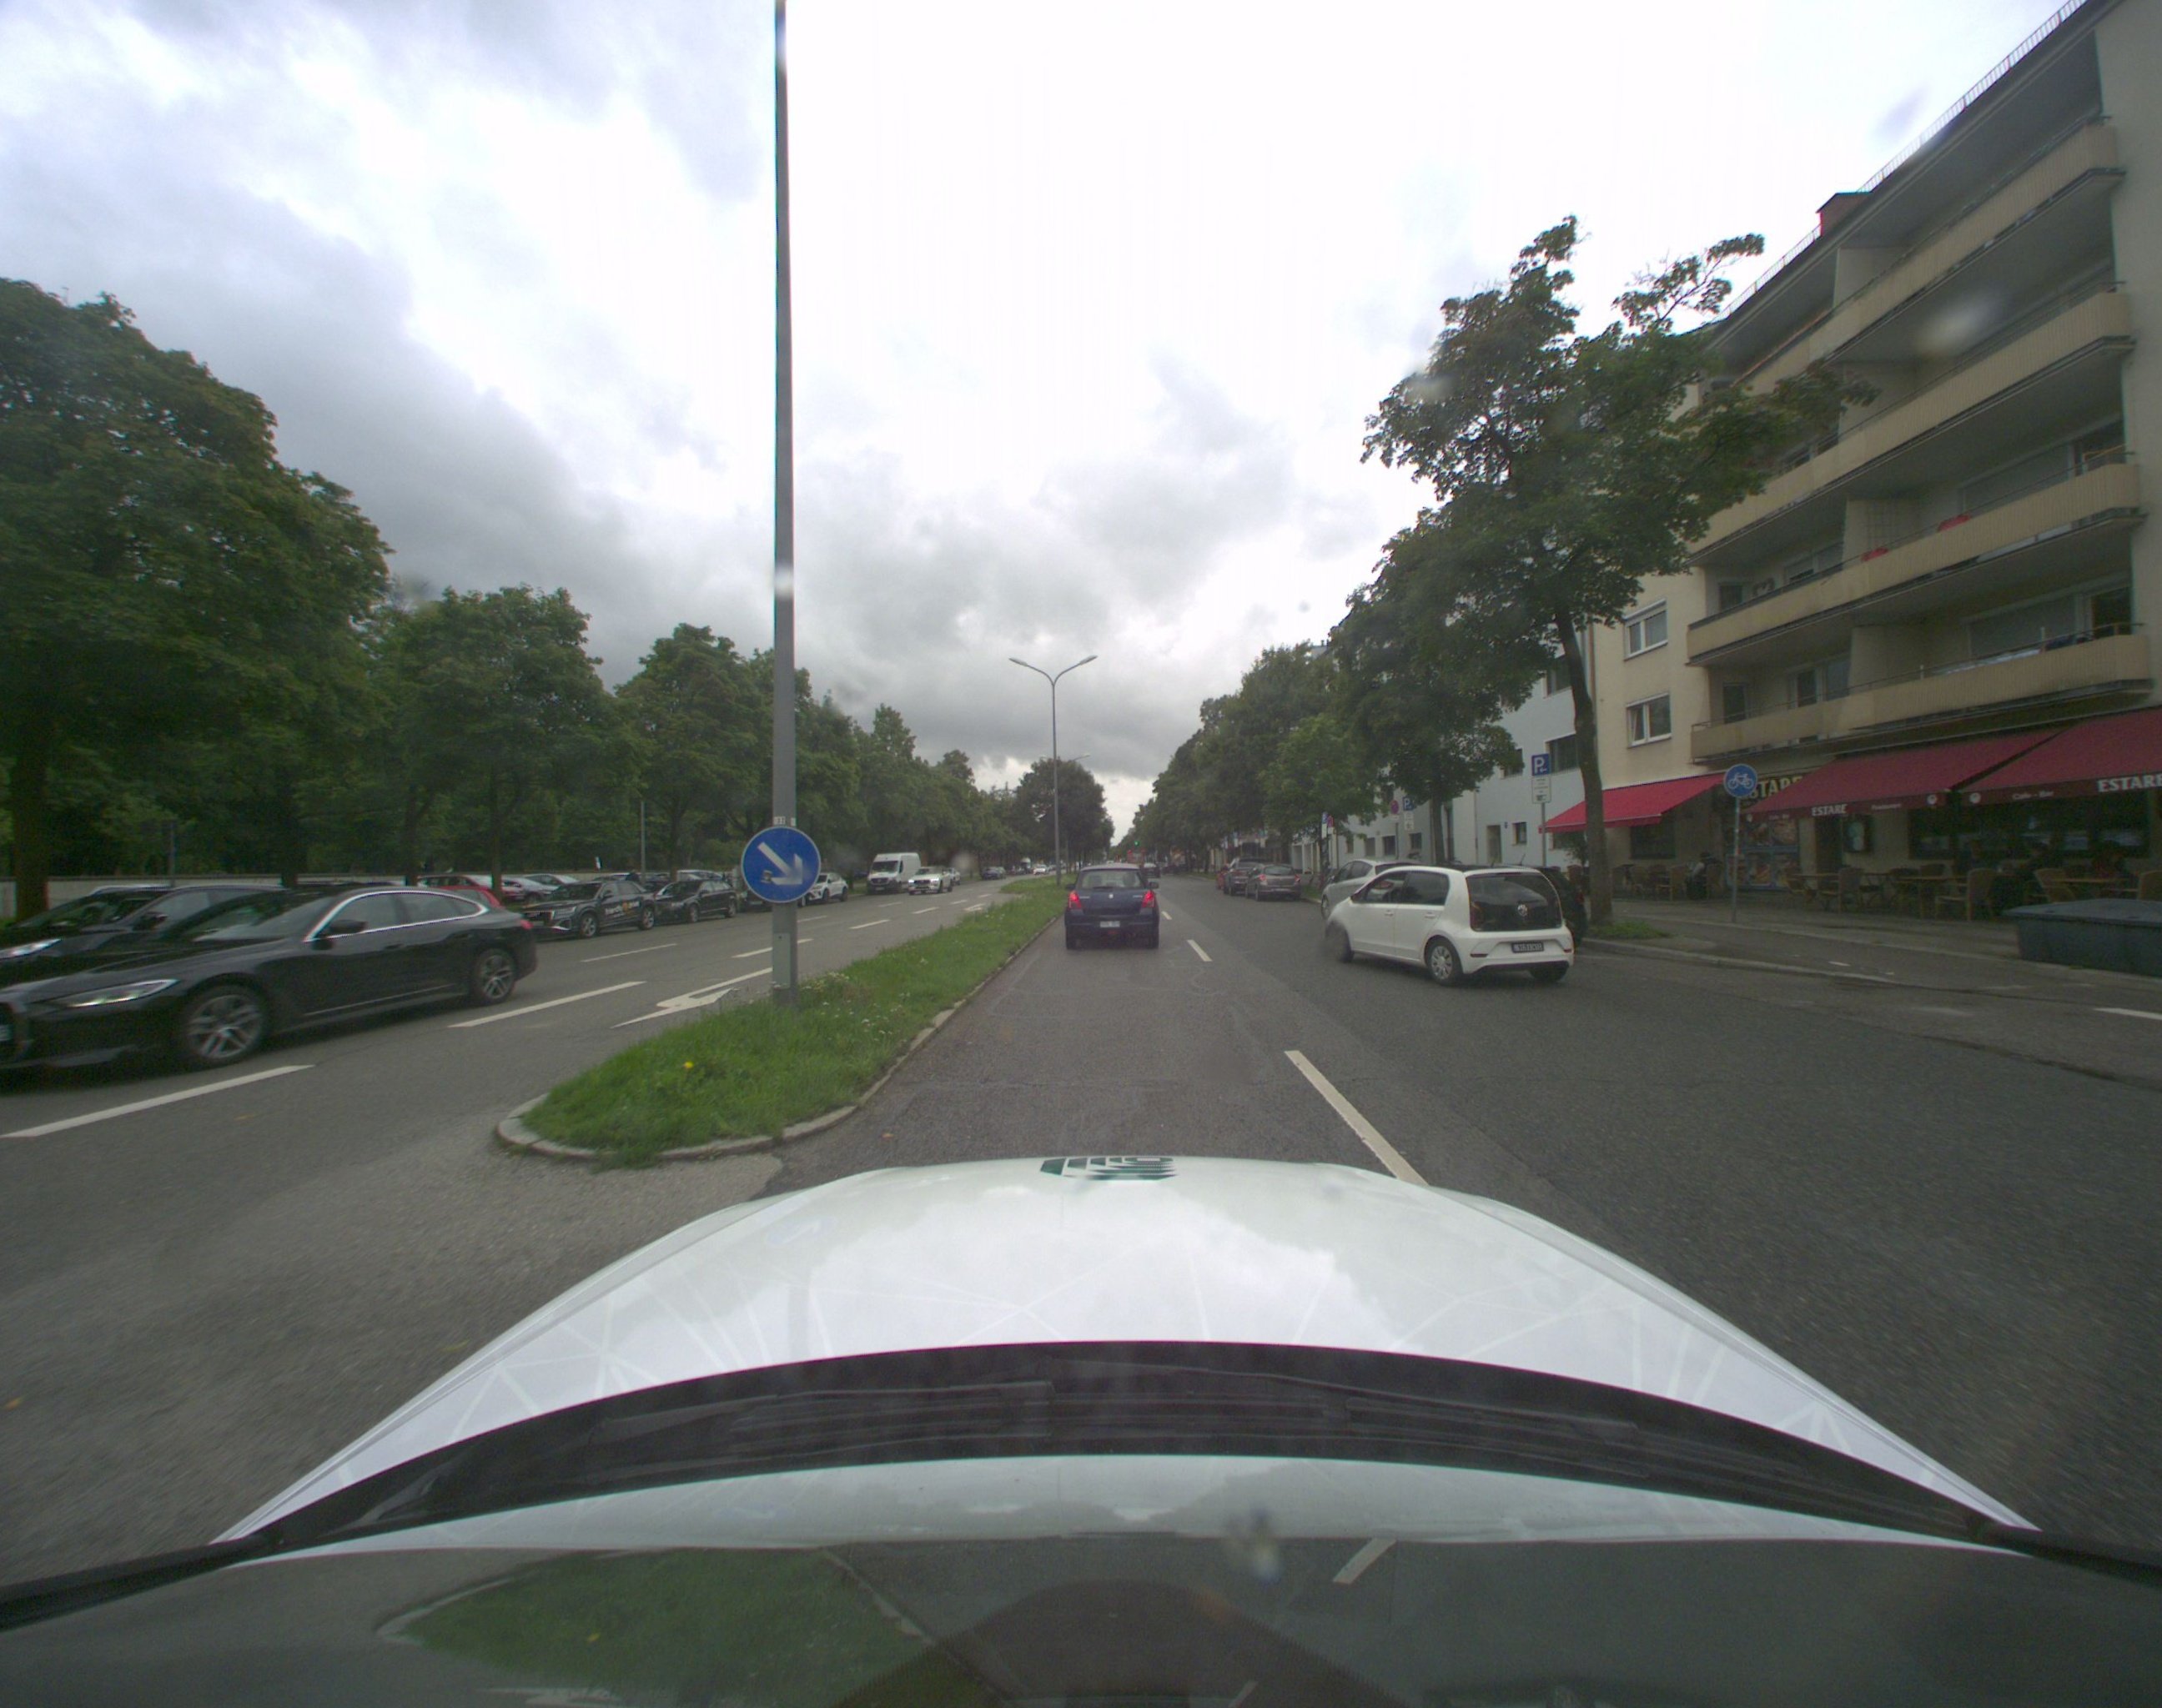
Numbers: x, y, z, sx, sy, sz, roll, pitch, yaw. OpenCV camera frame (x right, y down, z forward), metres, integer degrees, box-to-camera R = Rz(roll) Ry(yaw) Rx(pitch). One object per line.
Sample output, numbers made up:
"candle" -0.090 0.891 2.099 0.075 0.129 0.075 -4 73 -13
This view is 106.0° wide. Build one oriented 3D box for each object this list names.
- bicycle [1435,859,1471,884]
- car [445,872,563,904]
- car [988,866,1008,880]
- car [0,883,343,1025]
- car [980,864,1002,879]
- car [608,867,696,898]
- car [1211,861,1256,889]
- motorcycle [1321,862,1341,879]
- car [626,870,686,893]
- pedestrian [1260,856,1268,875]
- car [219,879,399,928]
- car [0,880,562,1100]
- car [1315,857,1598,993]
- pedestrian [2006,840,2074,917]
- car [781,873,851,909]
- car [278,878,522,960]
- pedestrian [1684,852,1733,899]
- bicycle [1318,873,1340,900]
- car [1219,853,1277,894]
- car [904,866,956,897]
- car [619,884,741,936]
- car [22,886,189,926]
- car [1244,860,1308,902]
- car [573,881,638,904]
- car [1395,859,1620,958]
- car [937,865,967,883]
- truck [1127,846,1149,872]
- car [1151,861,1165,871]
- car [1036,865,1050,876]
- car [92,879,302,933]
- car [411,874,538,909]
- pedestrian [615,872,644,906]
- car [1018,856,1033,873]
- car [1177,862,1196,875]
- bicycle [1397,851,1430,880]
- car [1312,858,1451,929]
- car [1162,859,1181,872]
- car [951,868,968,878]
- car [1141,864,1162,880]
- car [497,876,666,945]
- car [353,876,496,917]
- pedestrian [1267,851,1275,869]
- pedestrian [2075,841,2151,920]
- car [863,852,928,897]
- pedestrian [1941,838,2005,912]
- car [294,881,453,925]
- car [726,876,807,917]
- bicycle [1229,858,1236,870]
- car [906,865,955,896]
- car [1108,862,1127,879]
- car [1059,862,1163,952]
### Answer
"bicycle" 16.826 0.783 36.876 0.619 1.046 2.197 -5 -1 3
"car" -25.943 1.501 36.736 3.980 1.284 1.738 -1 -1 -5
"car" -9.864 2.206 96.701 1.632 1.537 4.317 -4 -1 2
"car" -13.838 1.316 12.089 1.815 1.700 4.240 -1 -2 1
"car" -10.091 1.989 91.571 1.880 1.537 4.314 -4 -1 1
"car" -24.348 1.611 46.291 3.969 1.570 1.816 -2 -1 4
"car" 8.311 1.134 44.552 1.517 1.441 3.996 -1 -1 -3
"motorcycle" 17.102 1.132 55.770 0.758 1.086 2.201 -2 -1 3
"car" -39.430 2.535 75.633 4.488 2.034 2.001 -1 -1 1
"pedestrian" 16.089 0.982 71.541 0.546 1.629 0.641 -3 -1 2
"car" -25.950 1.642 27.477 4.121 1.442 2.000 -1 -1 0
"car" -7.802 1.082 8.293 1.809 1.448 4.784 -2 -1 2
"car" 4.844 0.825 11.052 1.689 1.490 3.417 -1 -1 -15
"pedestrian" 16.289 0.406 13.837 0.536 1.268 0.487 -1 -1 1
"car" -12.666 1.732 39.194 1.815 1.528 4.299 -3 -2 1
"car" -13.970 1.272 17.055 1.815 1.479 3.810 -1 -2 1
"pedestrian" 16.040 0.542 20.841 0.740 1.163 0.647 -1 -1 2
"bicycle" 9.380 1.228 30.873 0.384 0.947 1.676 -1 -1 3
"car" 7.601 0.886 37.553 1.823 1.746 4.509 -1 -1 1
"car" -8.978 1.596 48.679 2.017 1.620 4.685 -2 -1 2
"car" -13.291 1.813 27.286 1.813 1.409 4.005 -3 -1 5
"car" -40.060 2.133 33.518 4.488 1.442 2.001 -1 -1 1
"car" 7.674 1.039 32.410 1.821 1.522 3.774 -1 -1 4
"car" -36.378 2.929 62.304 3.965 1.596 1.773 -2 -1 7
"car" 7.325 0.858 14.486 1.825 1.473 3.884 -1 -1 -2
"car" -11.093 1.746 70.355 1.850 1.491 4.142 -1 -2 1
"truck" 8.439 0.792 121.845 3.028 3.557 13.685 -1 -1 3
"car" 11.487 1.780 122.092 1.648 1.452 3.999 -1 -1 0
"car" -5.743 2.500 122.377 1.755 1.537 4.313 -4 -1 0
"car" -26.530 1.529 24.573 3.978 1.442 1.998 -1 -1 -3
"car" -25.674 1.571 34.565 3.978 1.284 1.739 -1 -1 -4
"pedestrian" -20.475 1.598 36.937 0.791 1.495 0.857 -2 -1 2
"car" -9.917 1.848 145.476 2.178 2.954 6.190 -1 -1 0
"car" 13.580 1.840 104.822 1.985 1.643 4.336 -1 -1 3
"bicycle" 17.027 0.597 41.776 0.700 1.407 2.594 -4 -1 3
"car" 7.178 0.884 19.980 1.823 1.522 4.524 -1 -1 1
"car" 10.872 1.390 97.568 1.985 1.452 4.003 -1 -1 3
"car" -18.797 2.915 126.269 1.807 1.536 4.299 -1 -1 2
"car" 7.006 1.790 80.999 1.814 1.477 4.693 1 -1 2
"car" -13.336 1.443 22.074 1.813 1.599 4.117 -2 -1 4
"car" -26.107 1.675 32.499 3.978 1.442 1.998 -1 -1 -3
"pedestrian" 16.836 0.523 72.154 0.539 1.640 0.725 -1 -1 2
"pedestrian" 16.266 0.406 12.850 0.536 1.214 0.487 -1 -1 2
"car" -12.001 1.245 53.316 2.131 2.644 7.110 -3 0 3
"pedestrian" 16.478 0.388 15.052 0.536 1.339 0.552 -1 -1 1
"car" -25.989 1.775 30.029 3.978 1.442 1.998 -1 -1 -3
"car" -12.994 1.707 33.908 1.817 1.447 3.997 -3 -1 -2
"bicycle" 18.278 1.191 98.219 0.577 1.463 1.689 -2 -1 3
"car" -8.899 1.539 48.484 1.843 1.600 4.405 -4 -1 3
"car" 3.387 1.532 75.168 1.712 1.501 4.303 -1 -1 2
"car" 0.627 0.922 15.893 1.745 1.505 4.003 -1 -1 3
